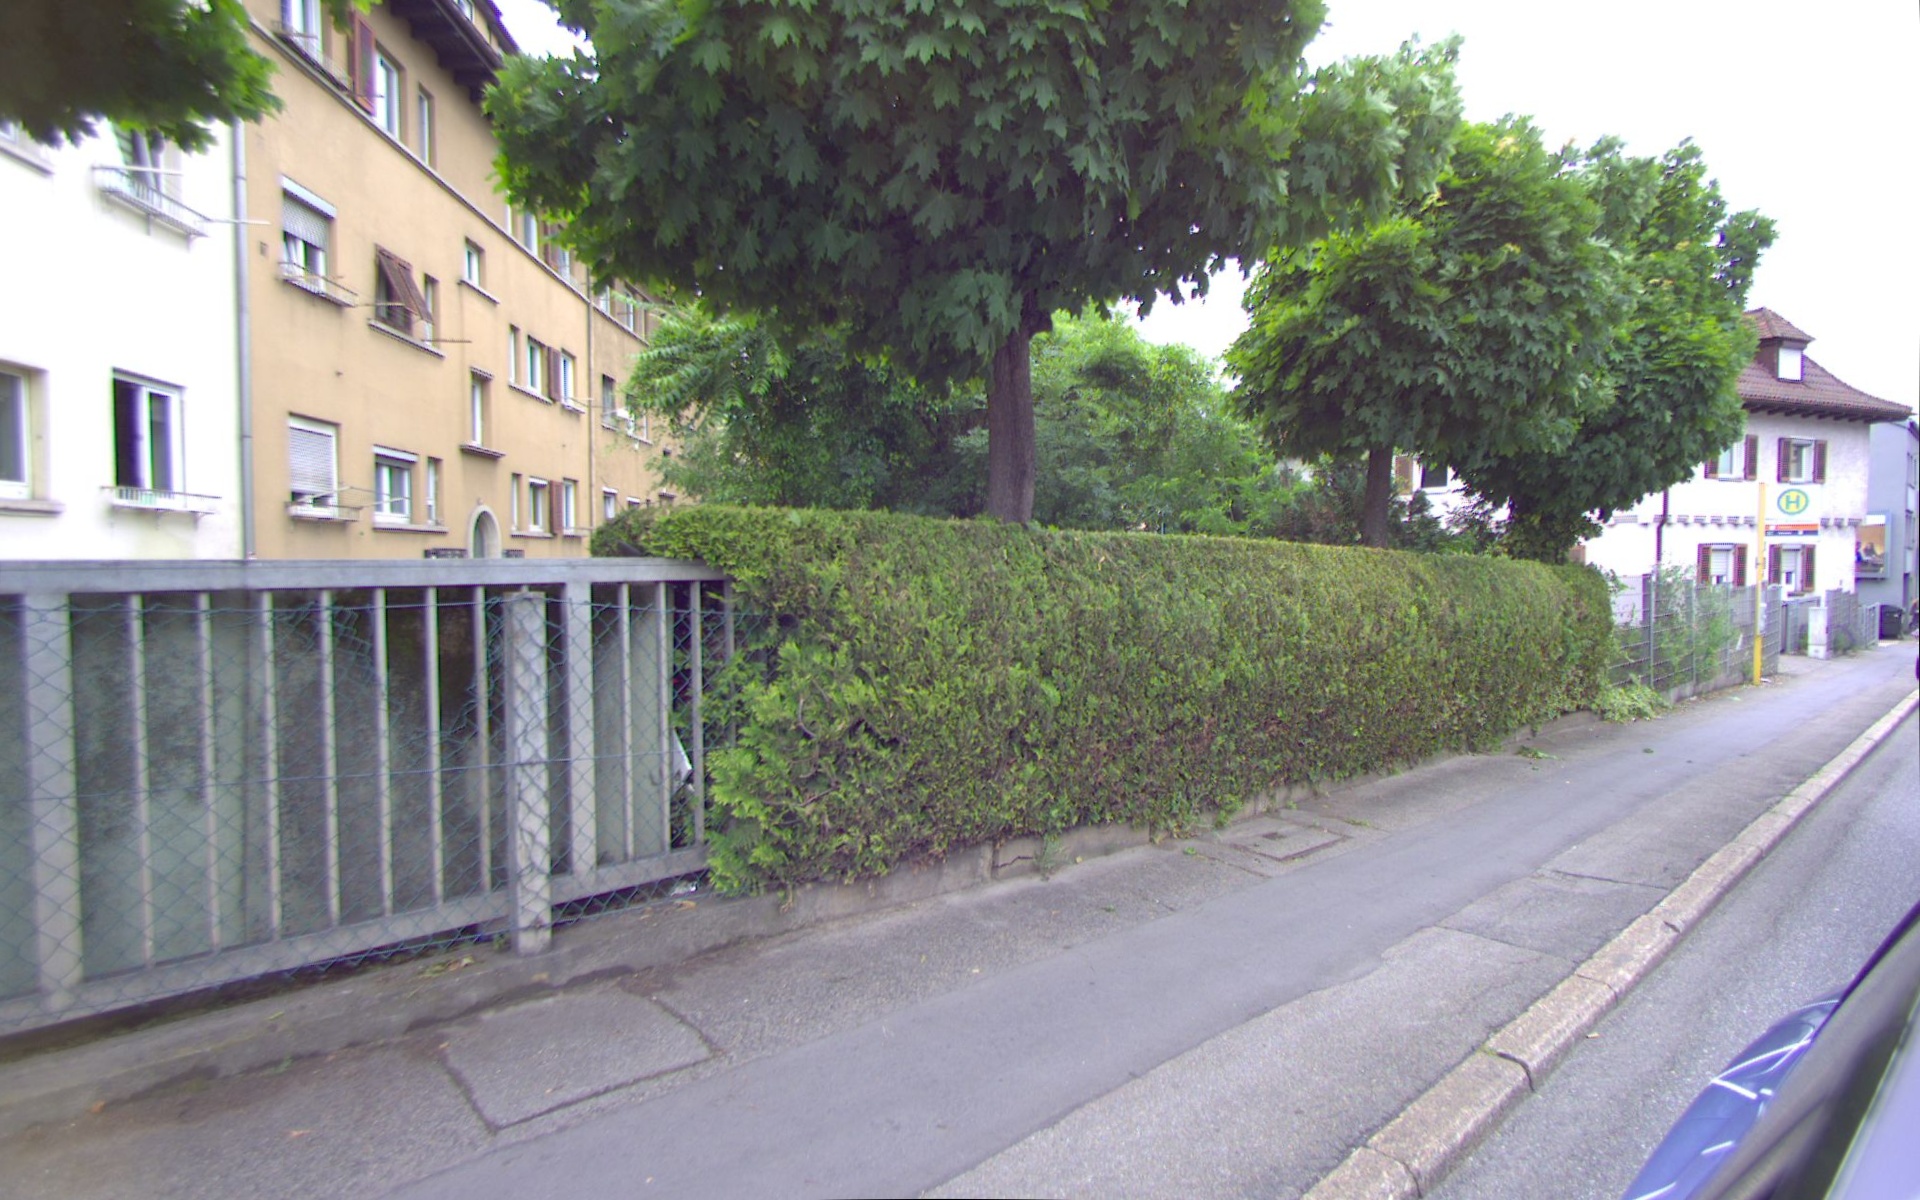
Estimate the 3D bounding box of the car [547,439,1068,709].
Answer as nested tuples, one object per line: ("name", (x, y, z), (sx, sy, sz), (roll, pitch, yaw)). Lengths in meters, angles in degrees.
("car", (-0.968, -0.163, 7.321), (3.381, 1.478, 1.698), (-1, 0, -43))
